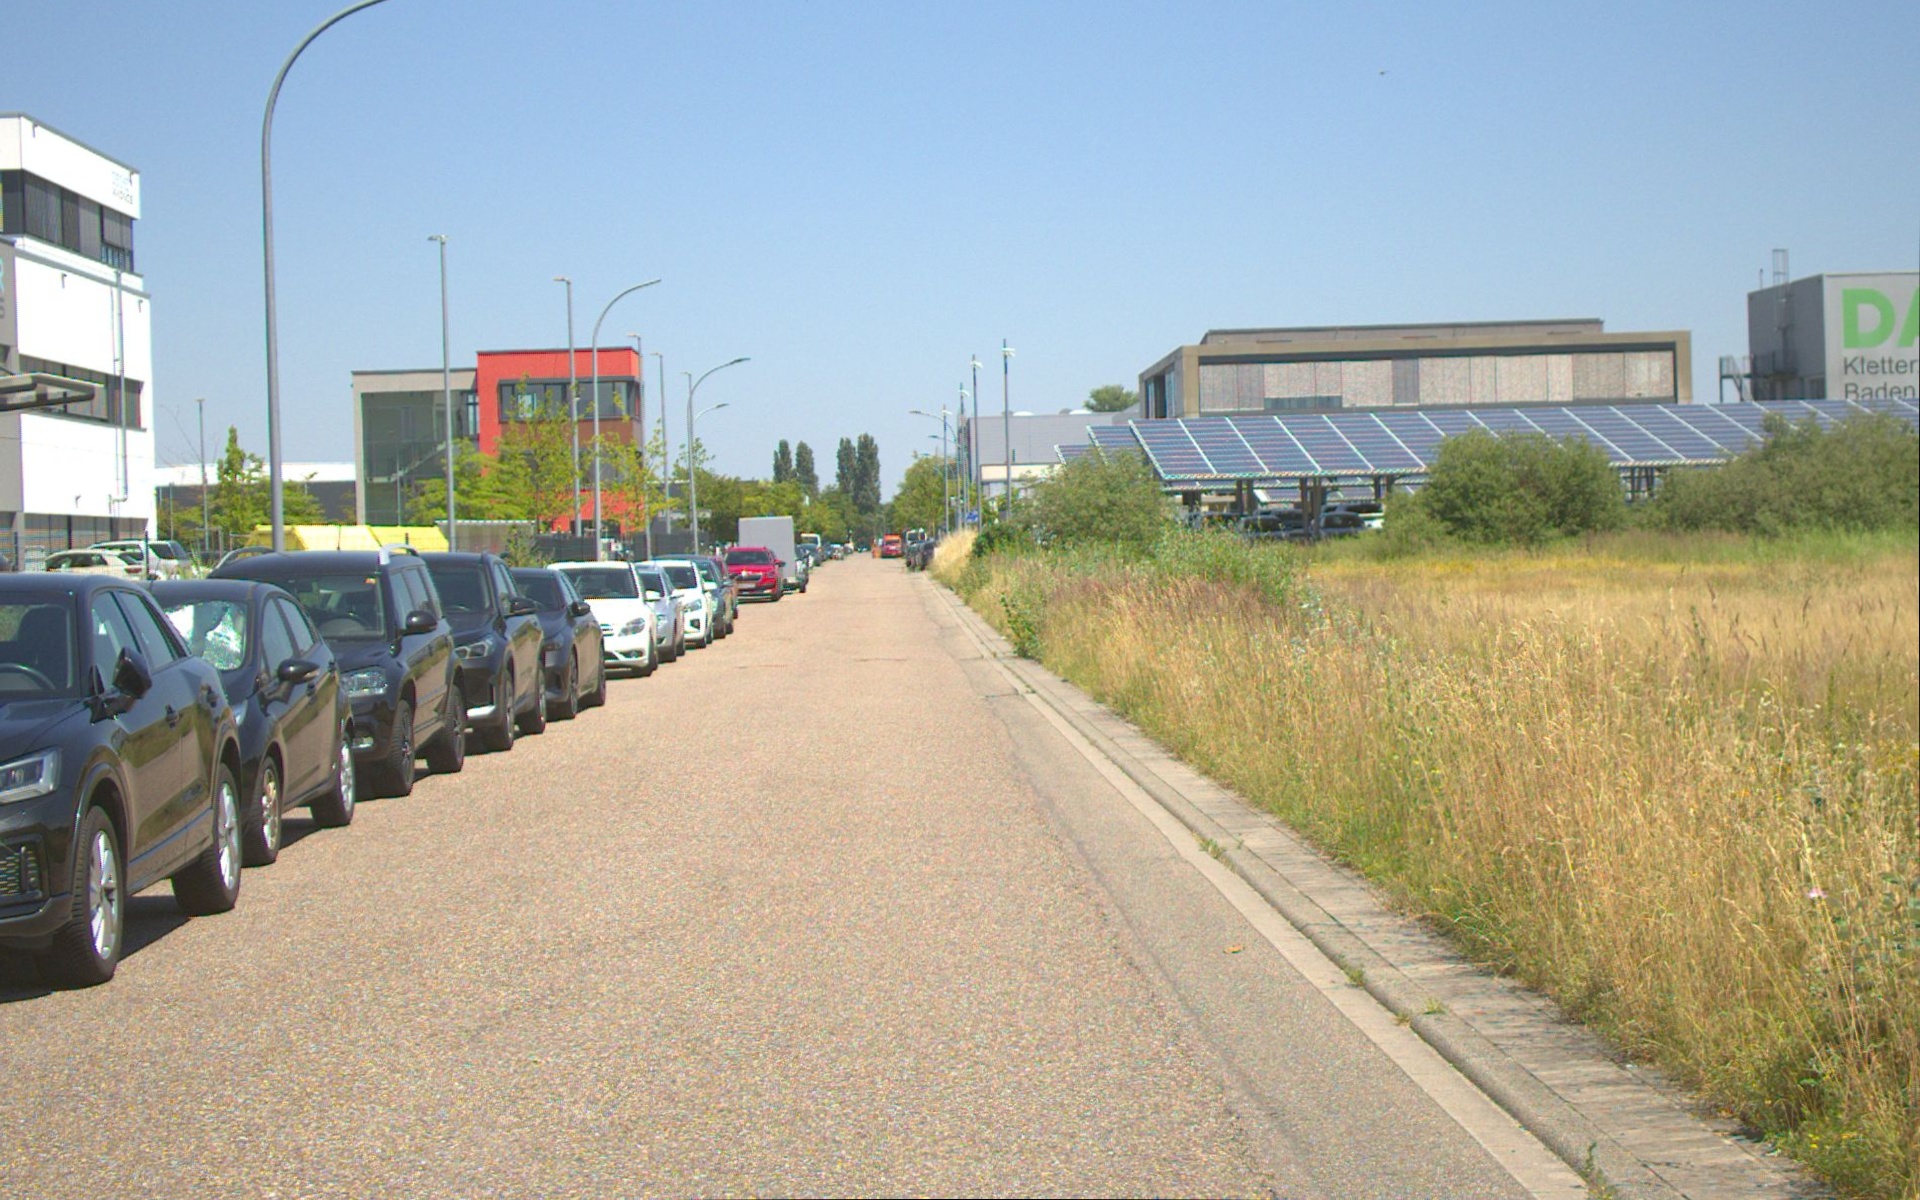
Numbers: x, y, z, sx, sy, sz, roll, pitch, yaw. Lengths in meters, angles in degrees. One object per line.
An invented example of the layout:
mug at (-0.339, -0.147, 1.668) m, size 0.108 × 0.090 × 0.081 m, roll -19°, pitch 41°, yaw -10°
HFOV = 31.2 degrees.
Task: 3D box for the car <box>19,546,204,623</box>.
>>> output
car at (-23.179, -0.440, 94.025) m, size 4.528 × 1.936 × 2.031 m, roll -2°, pitch 1°, yaw 0°

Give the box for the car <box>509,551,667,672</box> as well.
car at (-5.061, 0.124, 47.218) m, size 1.786 × 1.515 × 3.983 m, roll -2°, pitch 1°, yaw -1°

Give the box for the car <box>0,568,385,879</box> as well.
car at (-4.316, 0.609, 19.243) m, size 1.590 × 1.487 × 3.833 m, roll -2°, pitch 1°, yaw -1°

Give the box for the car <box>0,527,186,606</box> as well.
car at (-23.098, -0.886, 91.431) m, size 4.528 × 1.936 × 2.031 m, roll -2°, pitch 1°, yaw 0°

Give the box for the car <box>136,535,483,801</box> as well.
car at (-4.475, 0.398, 24.225) m, size 1.677 × 1.657 × 4.236 m, roll -2°, pitch 1°, yaw -1°

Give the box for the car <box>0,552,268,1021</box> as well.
car at (-4.084, 0.630, 13.695) m, size 1.926 × 1.562 × 4.190 m, roll -2°, pitch 1°, yaw -2°

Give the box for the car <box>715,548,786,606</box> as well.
car at (-5.821, -0.657, 95.815) m, size 1.786 × 1.515 × 3.983 m, roll -2°, pitch 1°, yaw -1°

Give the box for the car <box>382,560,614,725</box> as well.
car at (-4.660, 0.374, 35.330) m, size 1.768 × 1.480 × 5.015 m, roll -2°, pitch 1°, yaw -1°

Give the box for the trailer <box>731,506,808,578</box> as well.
trailer at (-5.945, -1.811, 107.492) m, size 2.201 × 2.130 × 4.286 m, roll -2°, pitch 1°, yaw -1°

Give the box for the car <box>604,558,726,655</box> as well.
car at (-5.001, 0.077, 58.759) m, size 1.786 × 1.515 × 3.983 m, roll -2°, pitch 1°, yaw -1°

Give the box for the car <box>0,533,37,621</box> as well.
car at (-23.185, -0.458, 76.791) m, size 4.528 × 1.936 × 2.031 m, roll -2°, pitch 1°, yaw 0°

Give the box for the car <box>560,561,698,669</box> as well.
car at (-5.074, 0.196, 53.144) m, size 1.786 × 1.515 × 3.983 m, roll -2°, pitch 1°, yaw -1°

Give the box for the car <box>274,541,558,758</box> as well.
car at (-4.592, 0.357, 29.600) m, size 1.768 × 1.657 × 4.552 m, roll -2°, pitch 1°, yaw -1°

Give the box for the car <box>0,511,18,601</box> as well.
car at (-22.765, -0.871, 73.708) m, size 4.528 × 1.936 × 2.031 m, roll -2°, pitch 1°, yaw 0°

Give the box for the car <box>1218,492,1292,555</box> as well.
car at (9.872, -2.552, 115.232) m, size 1.993 × 2.007 × 4.000 m, roll -2°, pitch 1°, yaw -1°

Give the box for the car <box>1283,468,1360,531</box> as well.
car at (12.105, -3.348, 115.274) m, size 1.993 × 2.007 × 4.000 m, roll -2°, pitch 1°, yaw -1°
